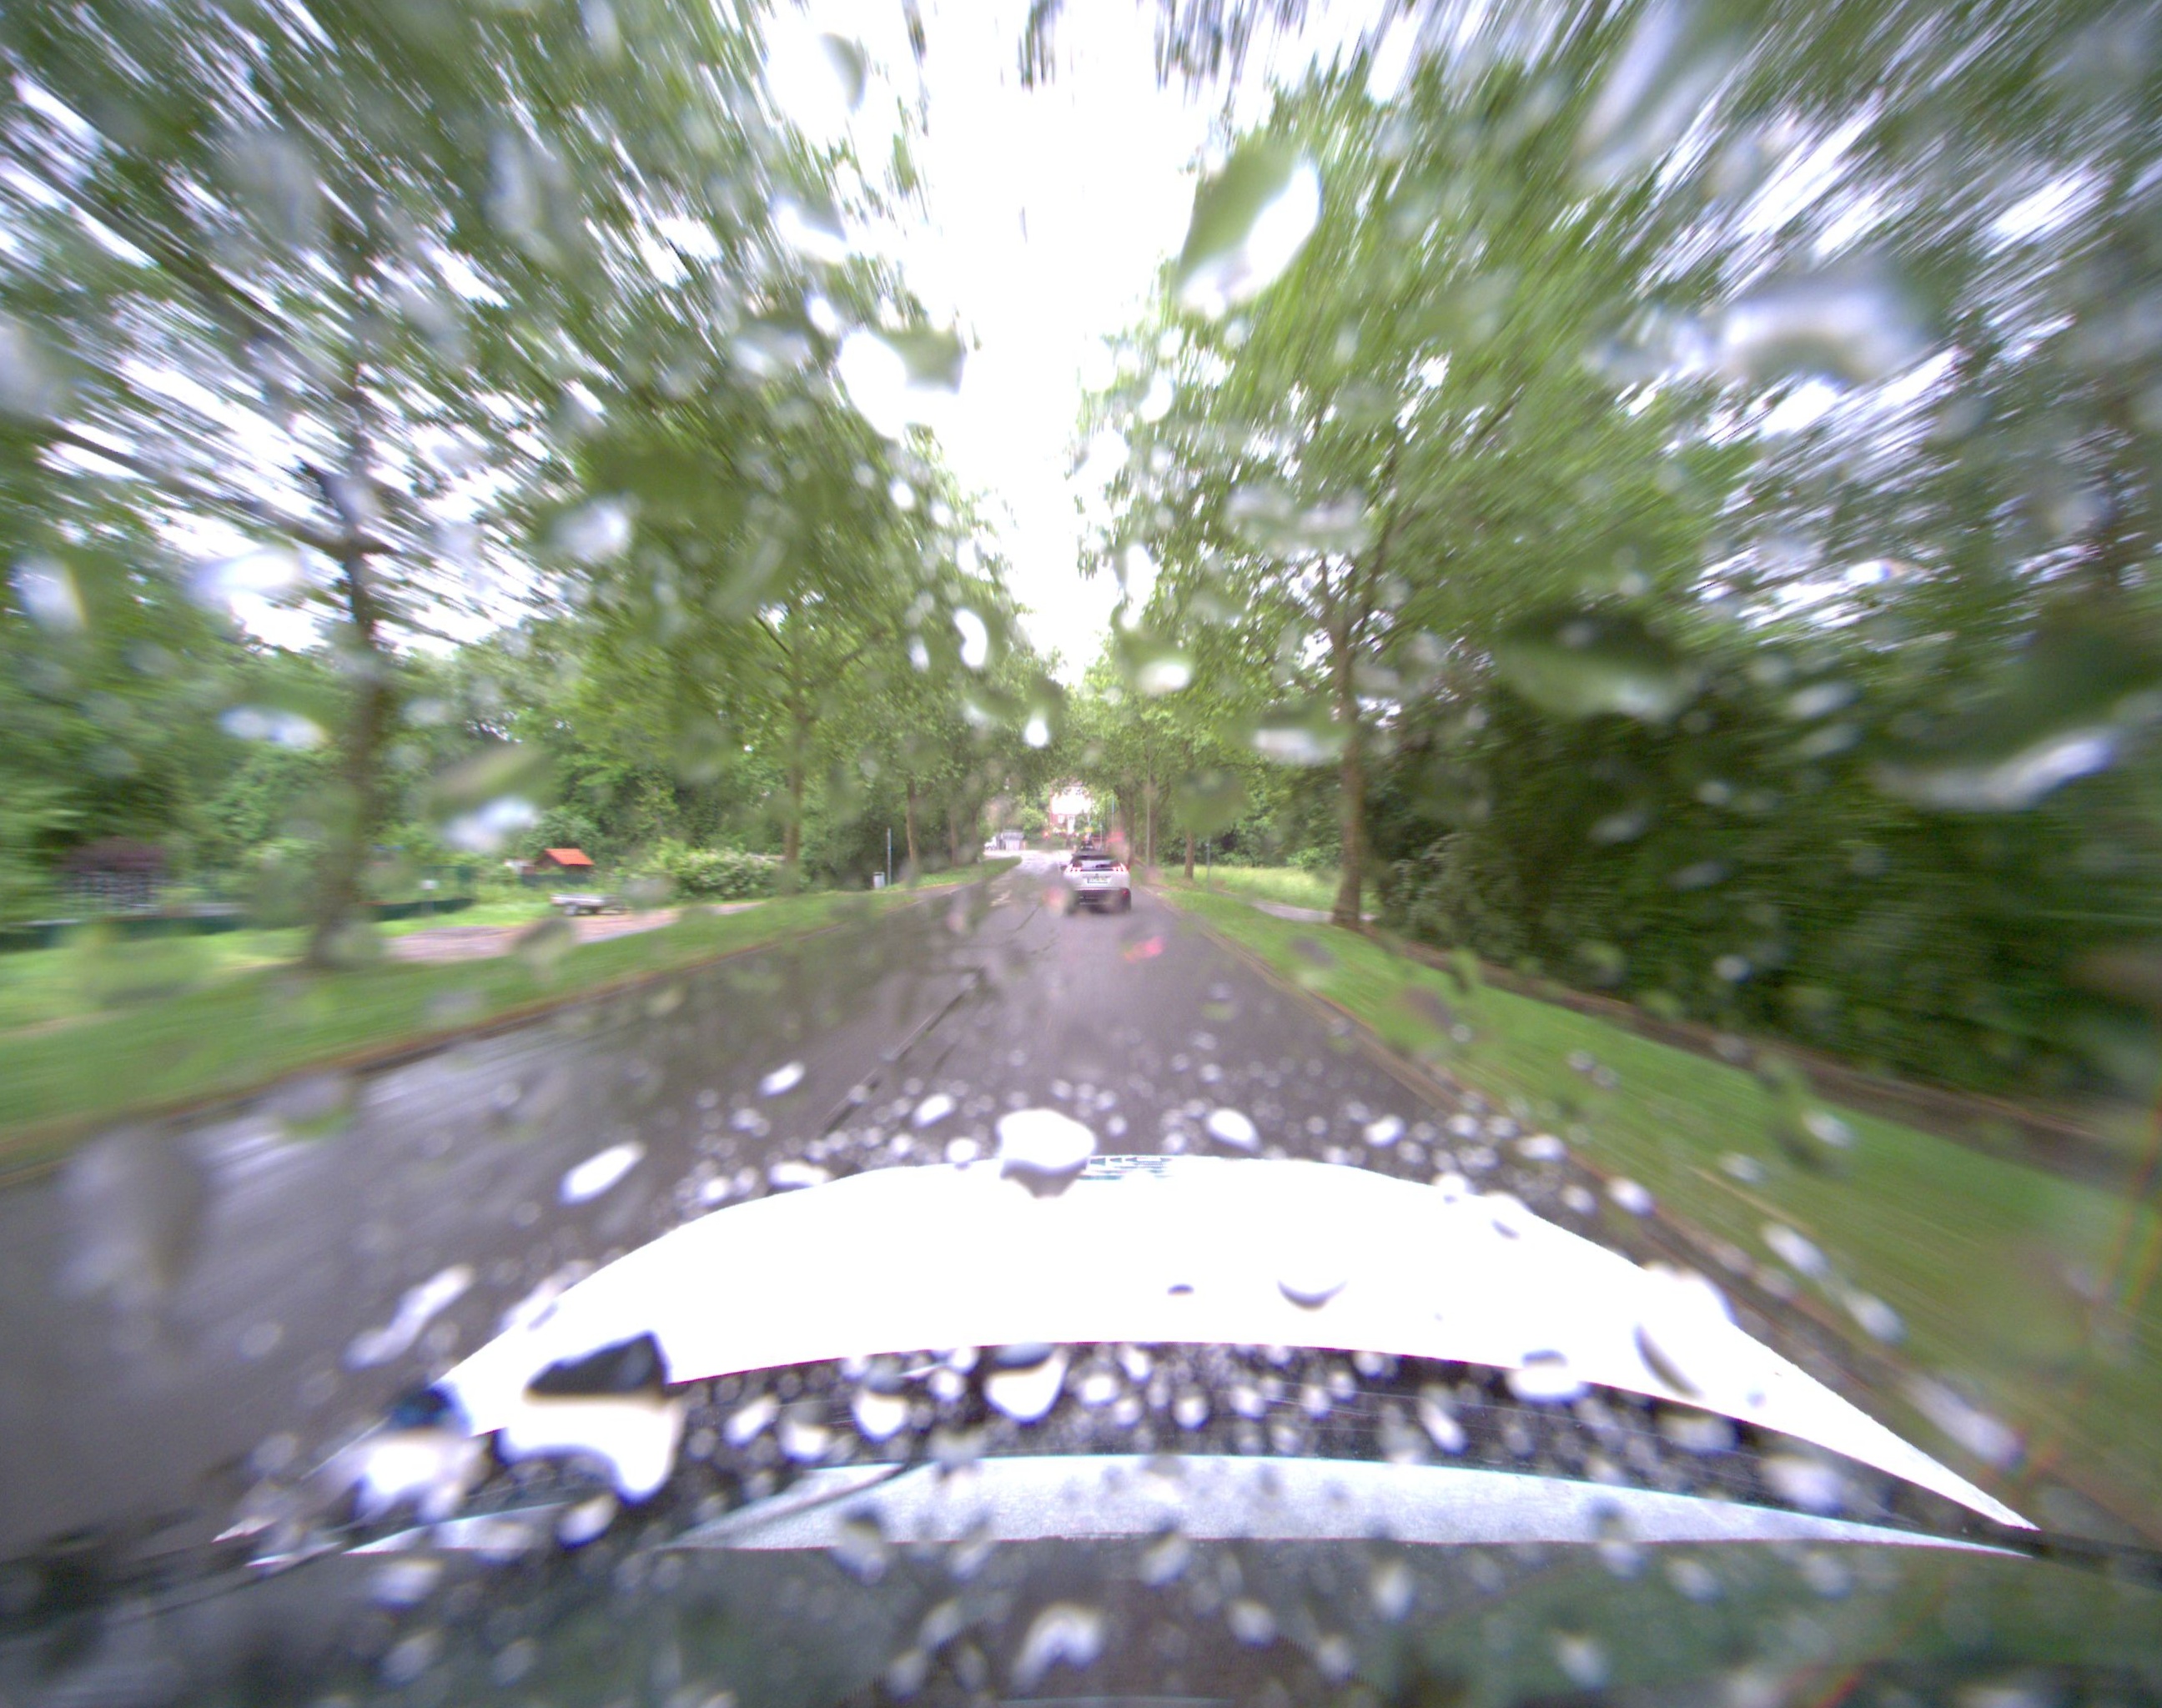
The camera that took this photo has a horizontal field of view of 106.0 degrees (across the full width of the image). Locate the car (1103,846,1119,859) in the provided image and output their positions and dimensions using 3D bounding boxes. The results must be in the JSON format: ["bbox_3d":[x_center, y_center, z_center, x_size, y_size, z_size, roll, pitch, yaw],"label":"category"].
[{"bbox_3d":[4.437,-0.189,121.189,1.817,1.517,3.738,8,2,-5],"label":"car"}]

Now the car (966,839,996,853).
[{"bbox_3d":[-19.798,-1.532,162.118,5.644,2.494,2.314,2,-1,-1],"label":"car"}]

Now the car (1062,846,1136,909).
[{"bbox_3d":[0.403,0.557,22.351,1.748,1.535,4.364,0,1,-2],"label":"car"}]

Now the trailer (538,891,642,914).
[{"bbox_3d":[-19.023,1.874,31.636,3.016,0.837,1.679,0,-1,3],"label":"trailer"}]

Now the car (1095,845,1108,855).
[{"bbox_3d":[3.303,-0.626,130.601,1.745,1.491,3.596,3,0,-3],"label":"car"}]

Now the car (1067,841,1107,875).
[{"bbox_3d":[0.249,0.155,41.411,1.826,1.456,4.657,3,2,-1],"label":"car"}]
